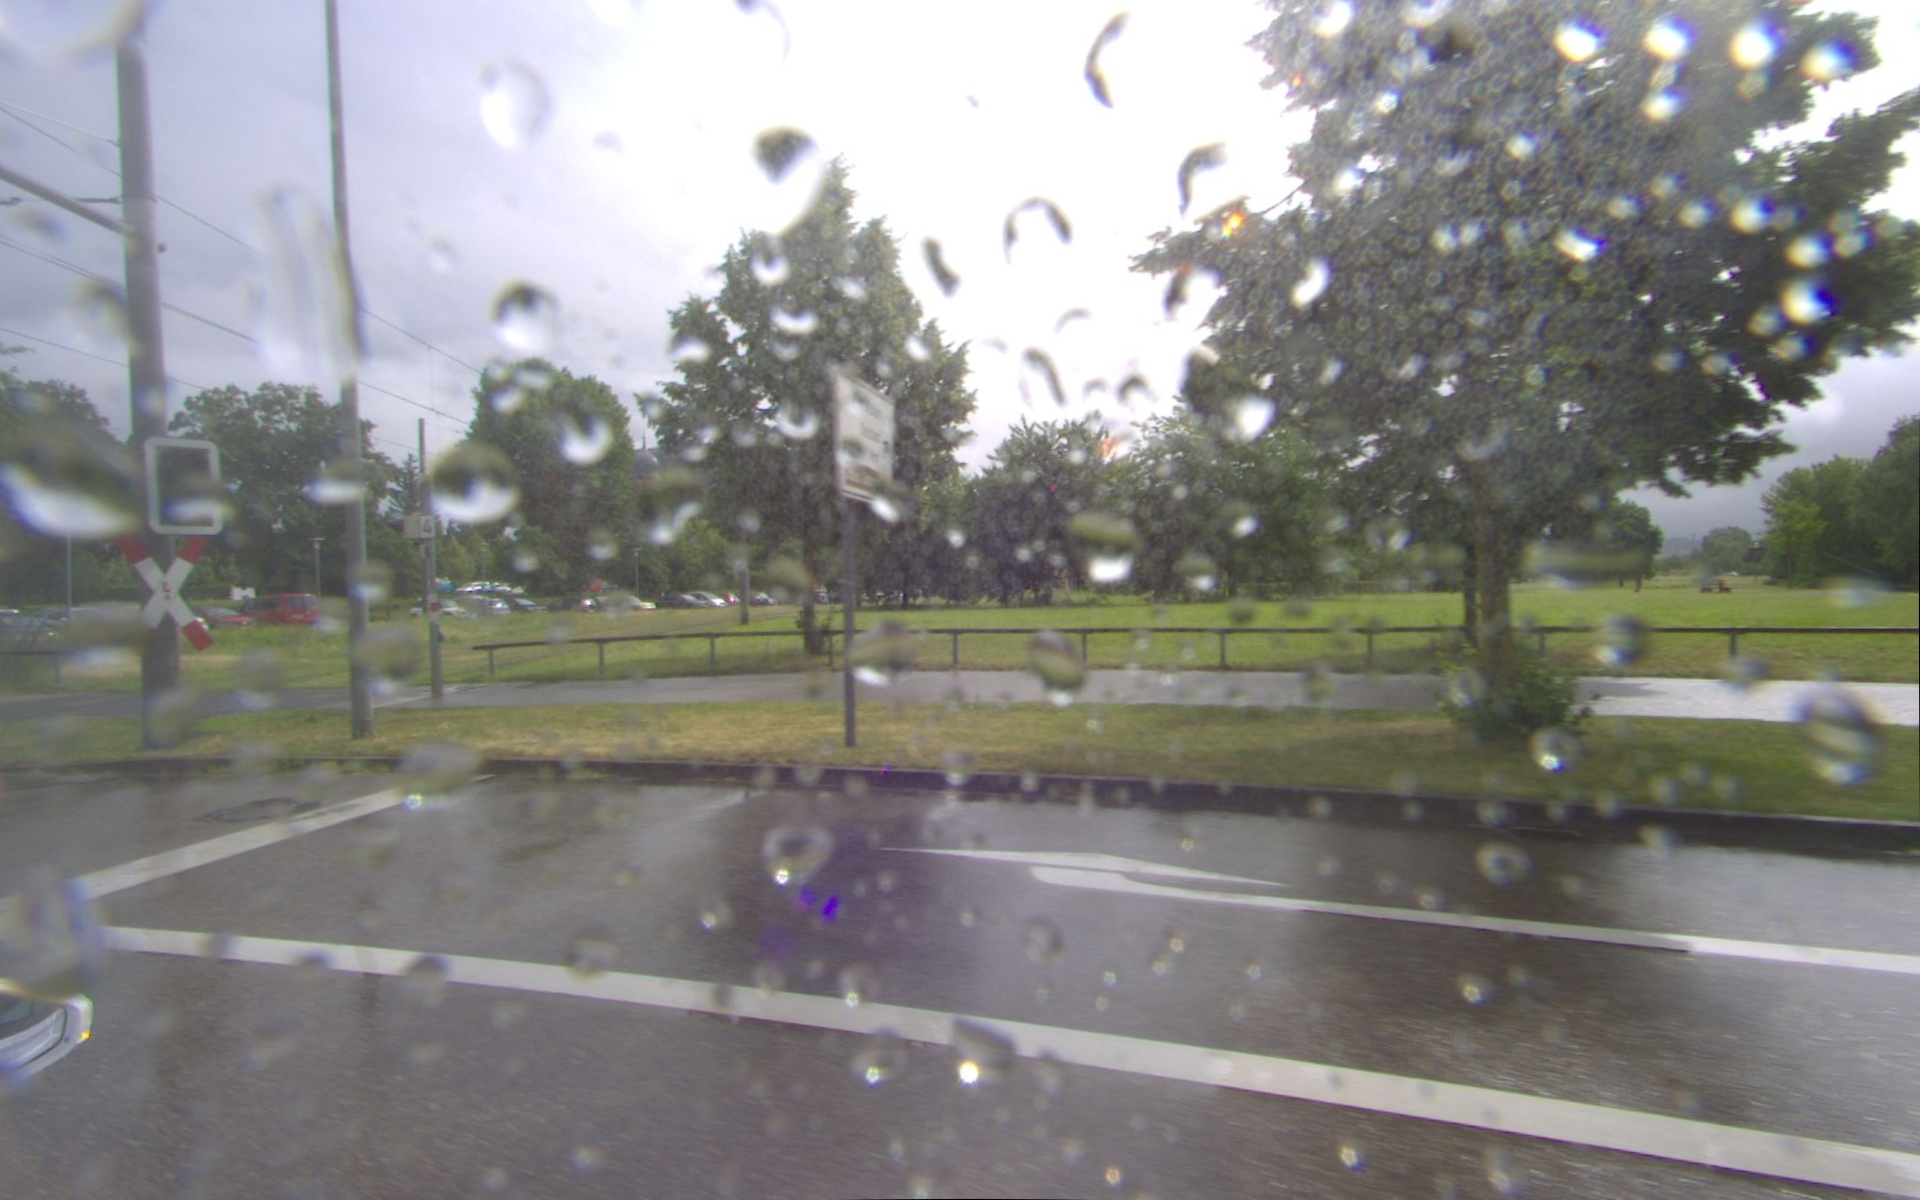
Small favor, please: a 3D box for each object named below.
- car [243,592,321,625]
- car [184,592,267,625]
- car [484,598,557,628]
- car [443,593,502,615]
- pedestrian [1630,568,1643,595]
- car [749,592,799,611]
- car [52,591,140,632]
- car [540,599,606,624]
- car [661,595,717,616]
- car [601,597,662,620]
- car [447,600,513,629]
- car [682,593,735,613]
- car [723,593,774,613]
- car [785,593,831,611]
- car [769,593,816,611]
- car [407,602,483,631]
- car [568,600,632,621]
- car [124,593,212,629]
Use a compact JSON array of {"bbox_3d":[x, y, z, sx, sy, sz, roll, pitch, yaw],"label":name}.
[{"bbox_3d":[-33.114,0.415,48.911,3.594,1.531,1.642,-1,1,29],"label":"car"},{"bbox_3d":[-34.200,0.408,46.632,3.552,1.481,1.639,-1,1,26],"label":"car"},{"bbox_3d":[-27.506,0.810,62.681,3.934,1.738,1.993,-1,1,24],"label":"car"},{"bbox_3d":[-36.065,0.308,74.089,3.933,1.548,1.793,-1,1,23],"label":"car"},{"bbox_3d":[43.700,-1.185,64.670,0.595,1.755,0.597,0,0,24],"label":"pedestrian"},{"bbox_3d":[-16.528,0.139,88.984,3.912,1.580,1.844,-1,1,23],"label":"car"},{"bbox_3d":[-36.509,0.478,42.312,3.592,1.681,1.544,-1,1,27],"label":"car"},{"bbox_3d":[-25.830,0.747,66.868,3.912,1.580,1.844,-1,1,23],"label":"car"},{"bbox_3d":[-21.185,0.440,78.185,3.912,1.580,1.844,-1,1,23],"label":"car"},{"bbox_3d":[-23.551,0.602,71.854,3.912,1.580,1.844,-1,1,23],"label":"car"},{"bbox_3d":[-28.812,0.872,60.083,3.568,1.683,1.545,-1,1,23],"label":"car"},{"bbox_3d":[-20.526,0.259,81.790,3.912,1.580,1.844,-1,1,23],"label":"car"},{"bbox_3d":[-17.966,0.235,85.055,3.912,1.580,1.844,-1,1,23],"label":"car"},{"bbox_3d":[-14.368,0.198,94.536,3.912,1.580,1.844,-1,1,23],"label":"car"},{"bbox_3d":[-15.473,0.159,92.413,3.912,1.580,1.844,-1,1,23],"label":"car"},{"bbox_3d":[-29.798,0.964,57.940,3.933,1.548,1.793,-1,1,23],"label":"car"},{"bbox_3d":[-24.974,0.715,69.459,3.912,1.325,1.844,-1,1,23],"label":"car"},{"bbox_3d":[-34.945,0.479,44.205,3.552,1.481,1.639,-1,1,26],"label":"car"}]
